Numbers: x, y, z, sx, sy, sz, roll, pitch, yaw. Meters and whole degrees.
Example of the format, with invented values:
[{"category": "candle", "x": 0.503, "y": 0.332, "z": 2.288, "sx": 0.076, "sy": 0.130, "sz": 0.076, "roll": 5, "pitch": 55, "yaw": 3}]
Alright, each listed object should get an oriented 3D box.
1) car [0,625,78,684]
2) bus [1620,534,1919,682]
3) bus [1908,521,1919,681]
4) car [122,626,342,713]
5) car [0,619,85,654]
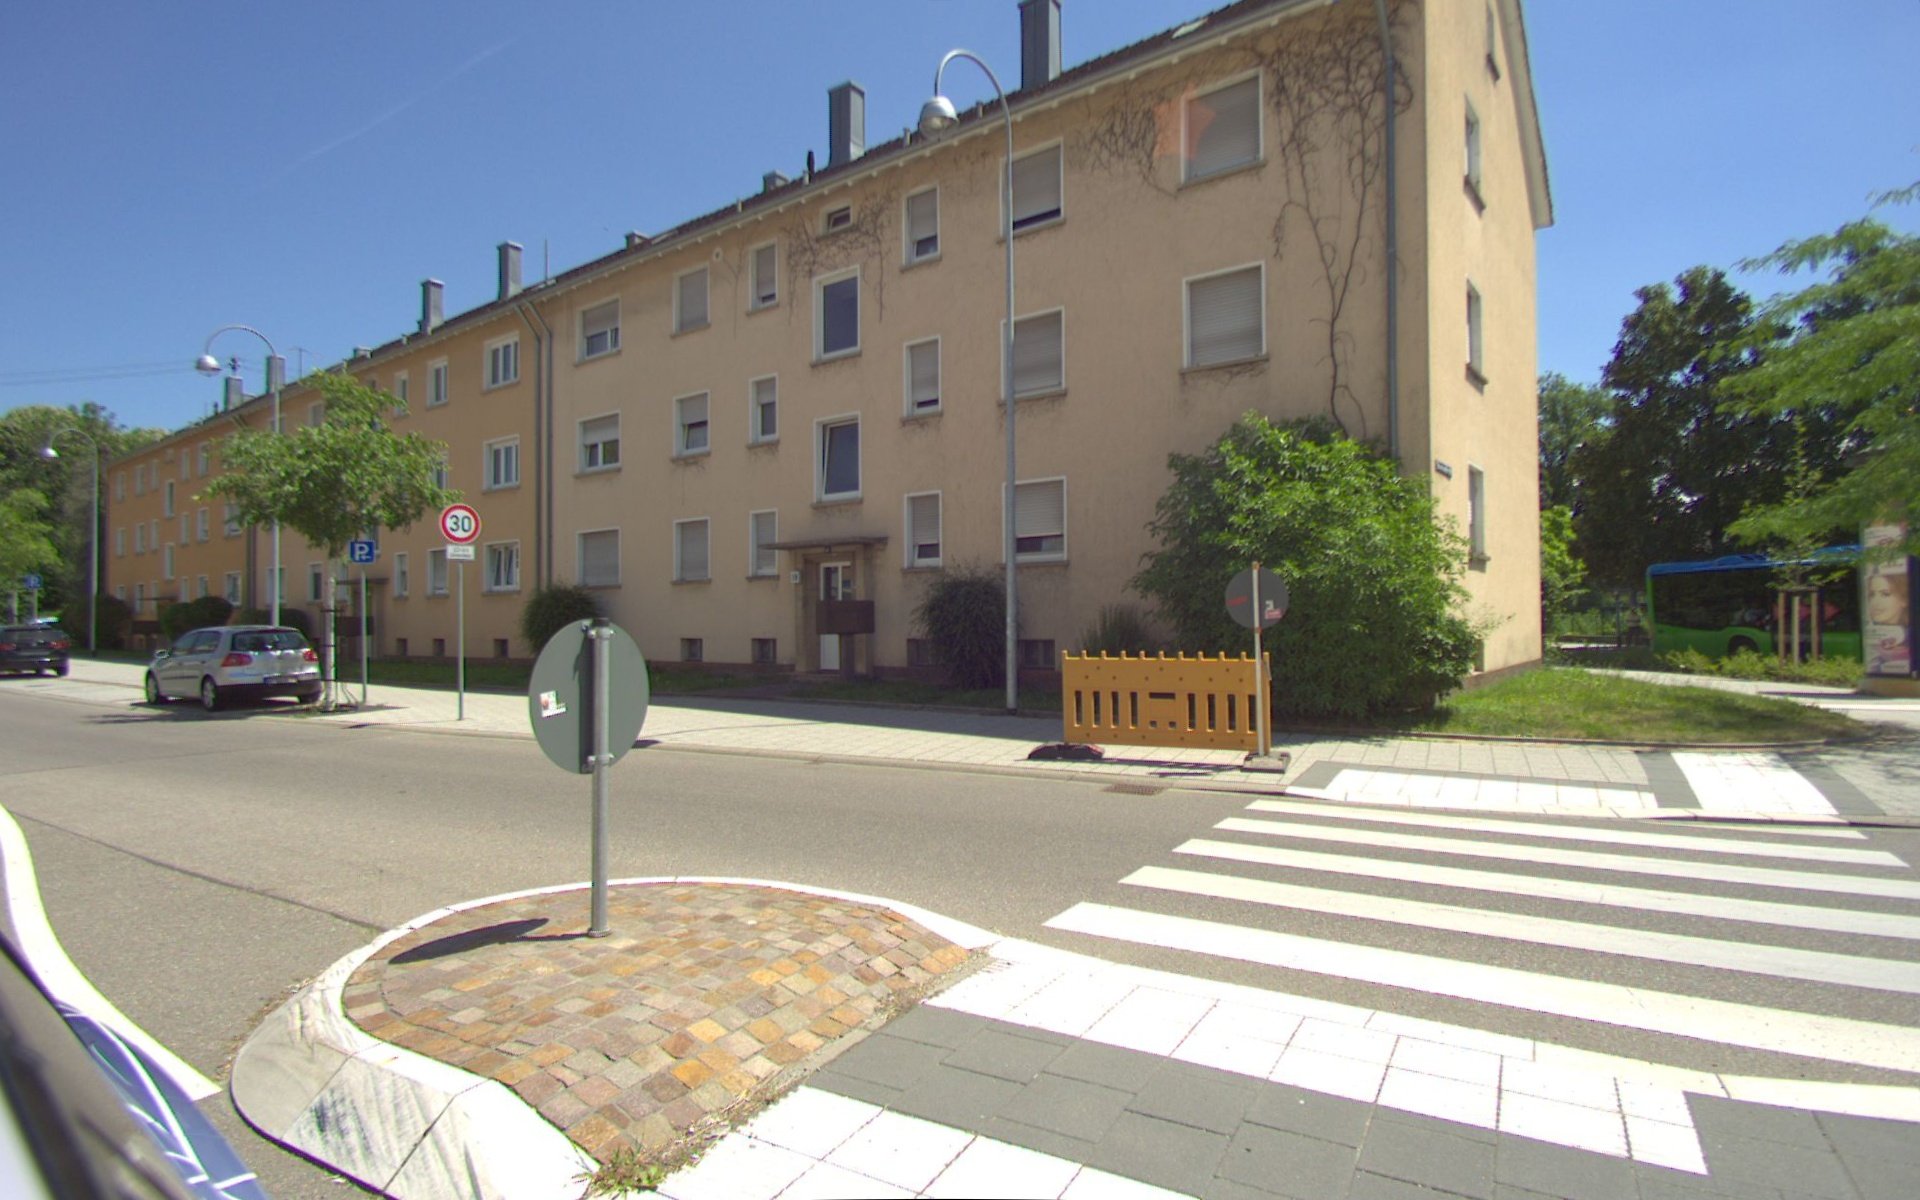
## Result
[{"category": "car", "x": -26.910, "y": 1.528, "z": 28.752, "sx": 4.554, "sy": 1.518, "sz": 1.840, "roll": -2, "pitch": 0, "yaw": 36}, {"category": "bus", "x": 21.411, "y": 0.200, "z": 25.835, "sx": 2.789, "sy": 3.134, "sz": 8.927, "roll": -3, "pitch": -1, "yaw": -2}, {"category": "bus", "x": 21.475, "y": -0.140, "z": 16.281, "sx": 2.924, "sy": 3.350, "sz": 10.078, "roll": -3, "pitch": -1, "yaw": 1}, {"category": "car", "x": -13.691, "y": 1.243, "z": 18.995, "sx": 4.074, "sy": 1.431, "sz": 1.979, "roll": -2, "pitch": -1, "yaw": 32}, {"category": "car", "x": -52.736, "y": 2.054, "z": 57.394, "sx": 1.810, "sy": 1.888, "sz": 4.397, "roll": -1, "pitch": -1, "yaw": 27}]
